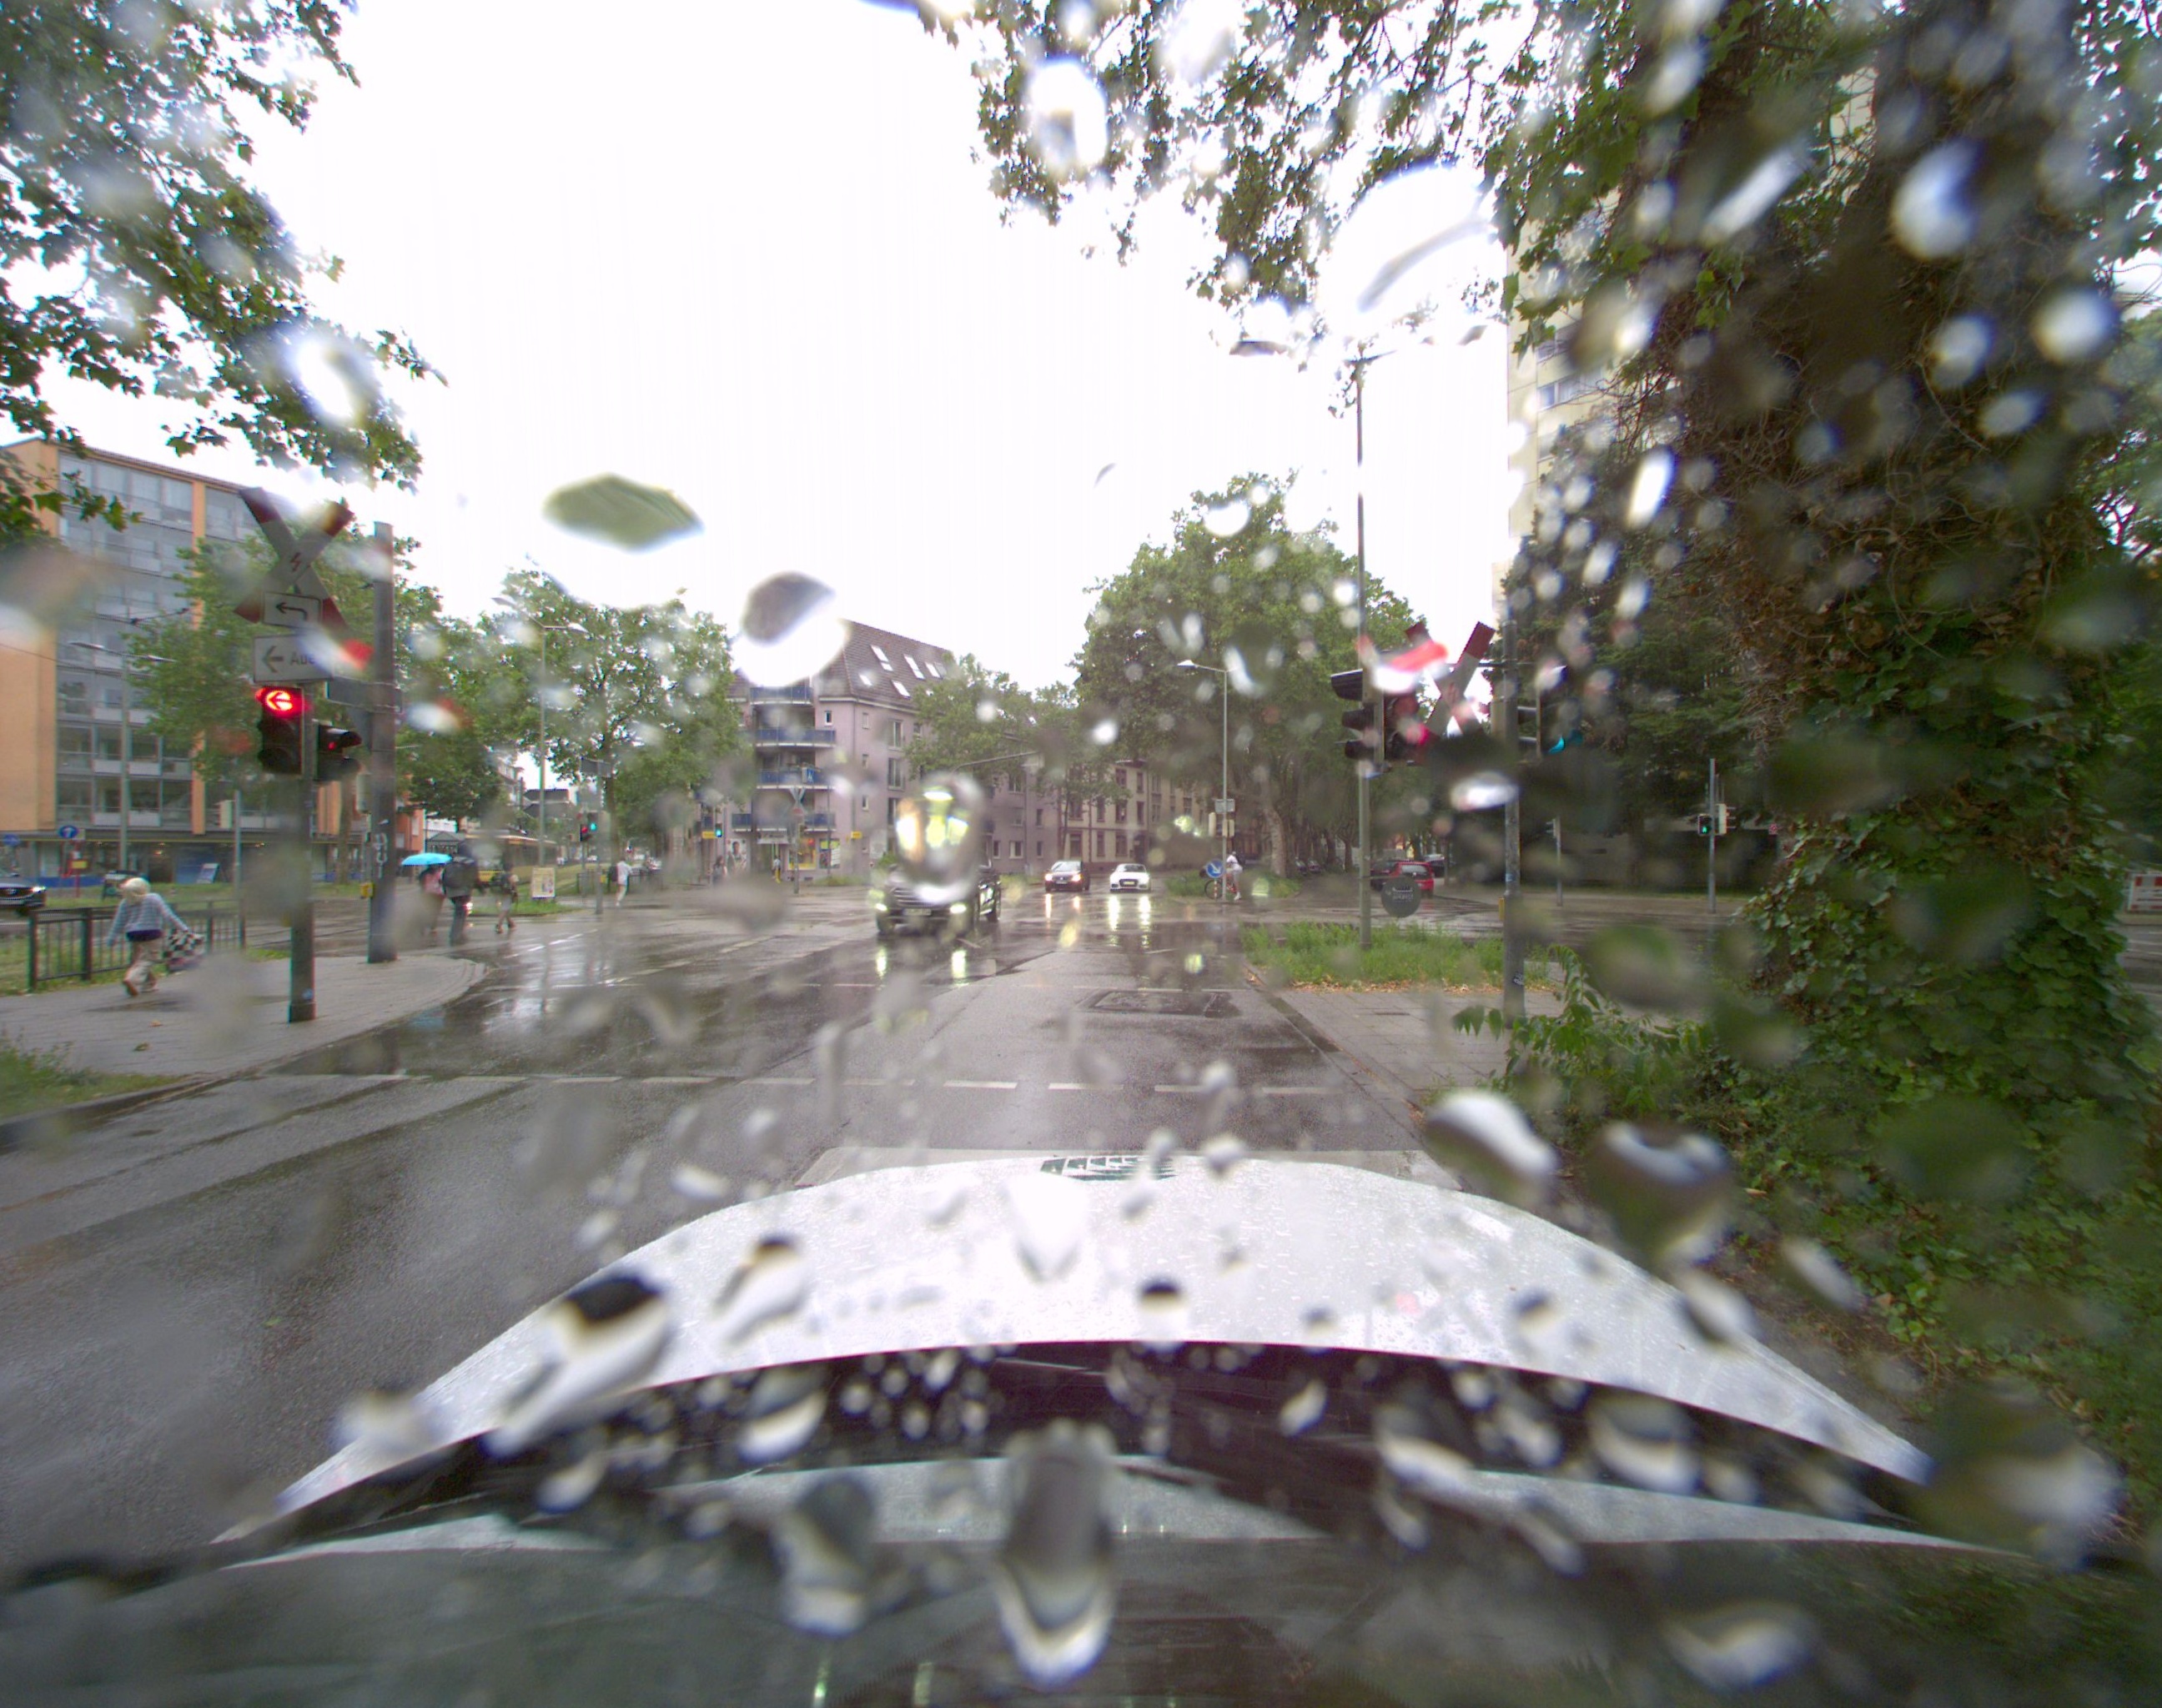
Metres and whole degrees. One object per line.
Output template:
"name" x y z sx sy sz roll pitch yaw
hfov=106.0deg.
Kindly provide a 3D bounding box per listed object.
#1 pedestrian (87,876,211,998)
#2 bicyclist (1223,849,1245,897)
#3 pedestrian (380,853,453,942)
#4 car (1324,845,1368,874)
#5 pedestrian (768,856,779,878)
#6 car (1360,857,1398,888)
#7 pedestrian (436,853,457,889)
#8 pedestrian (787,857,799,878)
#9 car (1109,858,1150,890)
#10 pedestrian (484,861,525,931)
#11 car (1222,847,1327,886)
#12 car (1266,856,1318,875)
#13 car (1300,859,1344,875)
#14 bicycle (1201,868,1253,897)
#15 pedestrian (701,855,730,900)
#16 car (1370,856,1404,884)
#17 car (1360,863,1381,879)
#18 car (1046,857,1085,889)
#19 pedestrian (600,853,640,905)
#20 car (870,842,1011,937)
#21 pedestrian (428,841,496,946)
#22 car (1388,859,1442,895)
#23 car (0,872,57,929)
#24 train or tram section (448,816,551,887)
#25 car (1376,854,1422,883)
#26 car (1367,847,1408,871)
"pedestrian" -10.970 0.952 9.615 0.657 1.349 0.706 0 0 -12
"bicyclist" 5.688 0.711 30.359 0.790 1.786 0.699 -1 -1 9
"pedestrian" -13.570 0.859 16.666 0.962 1.766 0.944 0 -1 -28
"car" 28.313 0.582 87.212 2.040 2.948 4.742 0 -1 -18
"pedestrian" -20.055 0.839 53.153 0.441 1.457 0.564 -1 -1 14
"car" 17.321 1.060 47.420 1.769 1.727 4.017 -1 -1 16
"pedestrian" -38.172 1.033 48.998 0.889 2.151 0.902 0 -1 -30
"pedestrian" -18.656 0.884 52.739 0.440 1.329 0.564 -1 -1 21
"car" 2.365 0.932 39.213 1.876 1.436 4.004 0 0 4
"pedestrian" -11.859 0.839 16.763 0.653 1.396 0.774 0 0 -33
"car" 7.750 0.515 32.656 3.958 1.486 2.008 -1 -1 14
"car" 16.921 0.927 65.206 3.958 1.486 2.008 -1 -1 14
"car" 23.129 1.248 78.255 3.958 1.547 2.008 -1 -1 14
"bicycle" 5.444 1.066 30.393 1.862 1.081 0.658 -1 -1 9
"pedestrian" -12.802 0.812 28.568 0.749 1.533 0.789 0 -1 -9
"car" 21.165 1.085 56.462 1.908 1.806 4.017 -1 -1 16
"car" 27.859 1.613 78.294 1.666 1.474 3.683 -1 -1 23
"car" -0.695 0.895 39.029 1.708 1.459 3.748 0 -1 1
"pedestrian" -14.516 0.762 25.654 0.671 1.600 0.968 0 -1 2
"car" -2.698 0.623 16.724 1.795 1.682 4.608 0 0 4
"pedestrian" -11.305 0.694 14.887 0.789 1.855 0.678 0 0 -17
"car" 14.823 0.978 36.328 1.778 1.498 4.017 0 0 16
"car" -32.229 1.323 23.547 3.994 1.530 1.615 0 1 12
"train or tram section" -36.166 -0.065 51.375 2.897 3.768 17.089 0 -1 -28
"car" 15.891 0.693 40.864 1.770 1.348 3.945 0 1 16
"car" 38.978 0.634 103.565 2.006 2.948 4.726 0 -1 -29
